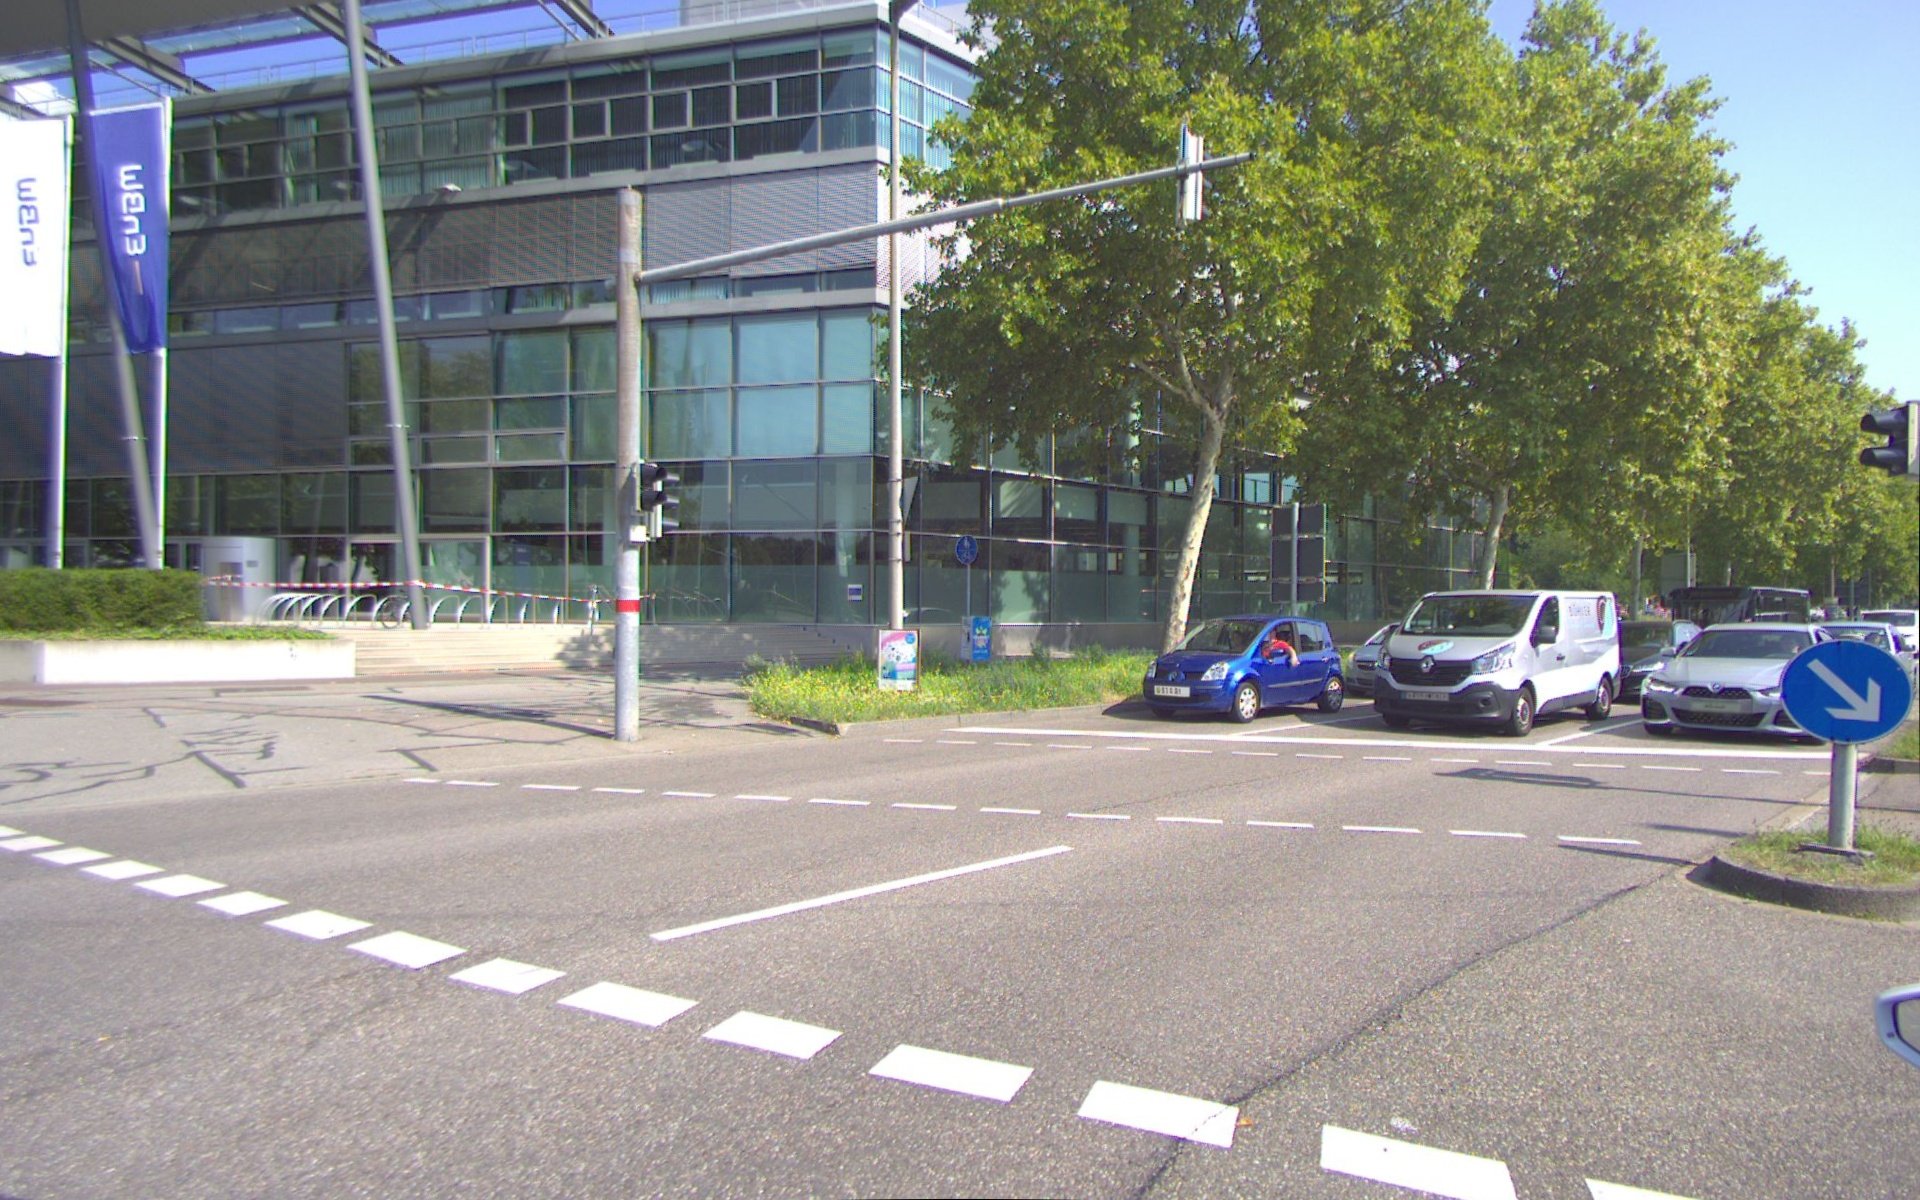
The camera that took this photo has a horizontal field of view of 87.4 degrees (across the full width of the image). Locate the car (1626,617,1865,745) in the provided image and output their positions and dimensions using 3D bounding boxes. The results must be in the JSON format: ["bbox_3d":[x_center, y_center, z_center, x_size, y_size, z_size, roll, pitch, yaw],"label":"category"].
[{"bbox_3d":[10.842,0.981,13.732,4.572,1.462,1.819,1,-2,-42],"label":"car"}]

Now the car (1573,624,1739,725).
[{"bbox_3d":[14.511,1.452,20.847,4.666,1.873,1.703,1,-2,-41],"label":"car"}]

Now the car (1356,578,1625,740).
[{"bbox_3d":[7.953,0.718,14.798,5.174,1.984,1.909,0,0,-43],"label":"car"}]

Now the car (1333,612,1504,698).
[{"bbox_3d":[9.110,1.050,19.864,3.700,1.555,1.654,1,-3,-40],"label":"car"}]

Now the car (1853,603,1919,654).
[{"bbox_3d":[38.492,1.156,41.685,1.907,1.986,5.158,-2,-1,44],"label":"car"}]

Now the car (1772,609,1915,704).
[{"bbox_3d":[16.224,0.989,18.382,4.073,1.555,1.599,2,-3,-44],"label":"car"}]

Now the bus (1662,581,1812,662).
[{"bbox_3d":[30.257,0.872,38.866,10.823,2.729,2.638,1,-2,-42],"label":"bus"}]

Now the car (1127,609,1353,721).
[{"bbox_3d":[4.468,0.968,15.833,3.700,1.555,1.654,2,-3,-40],"label":"car"}]
